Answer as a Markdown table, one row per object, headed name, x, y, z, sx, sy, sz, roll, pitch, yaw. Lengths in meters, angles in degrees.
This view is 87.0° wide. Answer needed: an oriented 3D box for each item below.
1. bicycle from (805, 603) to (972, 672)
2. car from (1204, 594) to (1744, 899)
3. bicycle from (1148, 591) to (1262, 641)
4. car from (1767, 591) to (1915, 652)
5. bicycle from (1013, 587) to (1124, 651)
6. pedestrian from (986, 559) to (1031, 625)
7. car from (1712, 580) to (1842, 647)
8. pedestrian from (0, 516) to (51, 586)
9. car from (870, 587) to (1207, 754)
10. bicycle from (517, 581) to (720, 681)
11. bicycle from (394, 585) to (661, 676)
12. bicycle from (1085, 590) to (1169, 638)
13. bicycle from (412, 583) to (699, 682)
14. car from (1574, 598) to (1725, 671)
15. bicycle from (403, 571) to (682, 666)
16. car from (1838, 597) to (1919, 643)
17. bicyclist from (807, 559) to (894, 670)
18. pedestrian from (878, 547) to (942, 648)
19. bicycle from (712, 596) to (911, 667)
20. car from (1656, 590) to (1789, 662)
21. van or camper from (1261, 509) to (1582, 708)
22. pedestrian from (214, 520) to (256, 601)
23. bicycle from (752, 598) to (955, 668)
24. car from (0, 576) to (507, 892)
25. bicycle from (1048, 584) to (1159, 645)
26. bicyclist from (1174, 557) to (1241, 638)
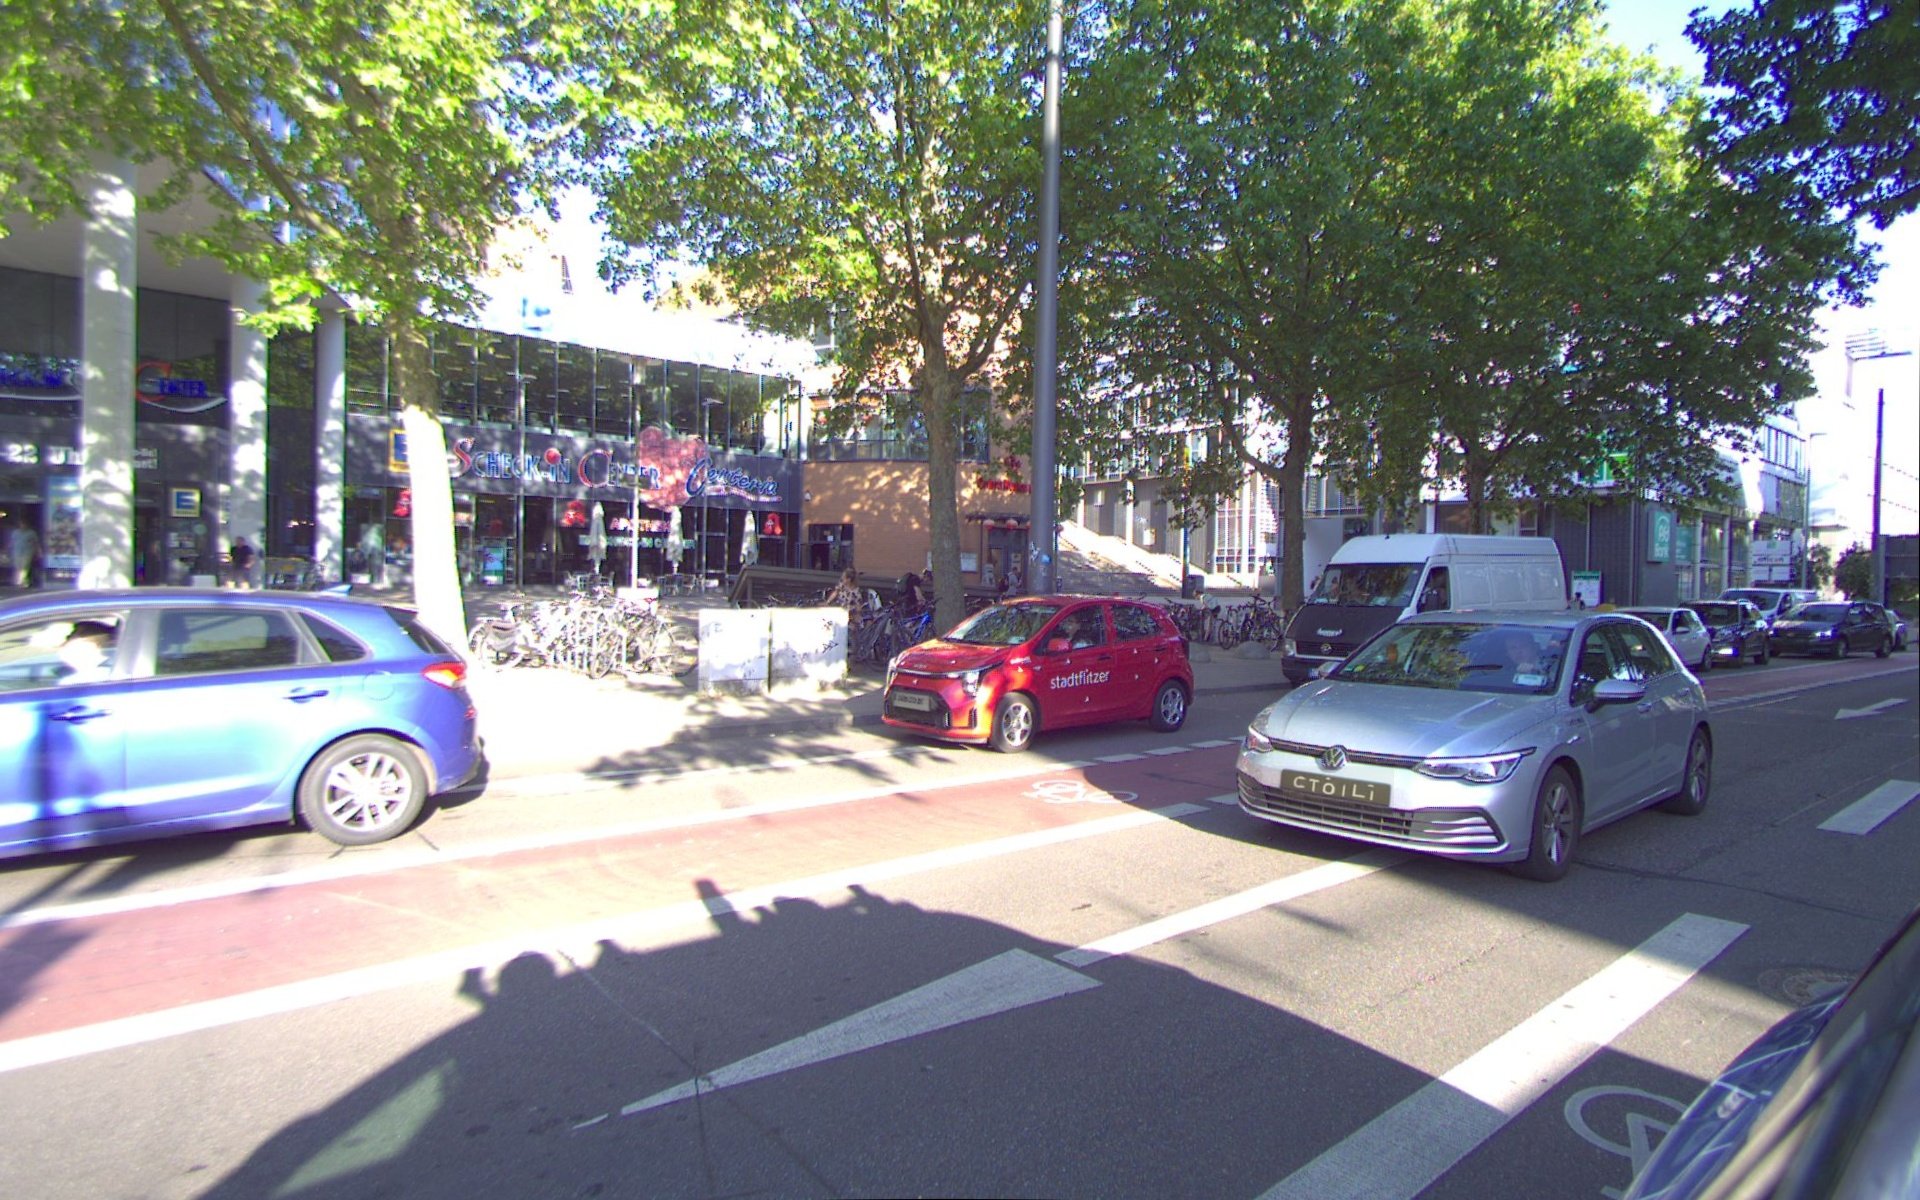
| name | x | y | z | sx | sy | sz | roll | pitch | yaw |
| --- | --- | --- | --- | --- | --- | --- | --- | --- | --- |
| bicycle | -1.083 | 0.546 | 15.922 | 2.591 | 0.960 | 0.924 | -1 | 0 | -41 |
| car | 3.574 | 0.722 | 6.743 | 3.927 | 1.436 | 1.752 | 1 | 0 | -39 |
| bicycle | 6.396 | 0.383 | 26.688 | 1.124 | 1.097 | 3.342 | 0 | 2 | -23 |
| car | 25.248 | 0.575 | 28.968 | 4.300 | 1.656 | 1.714 | 0 | 0 | -27 |
| bicycle | 2.165 | 0.346 | 19.944 | 2.355 | 1.177 | 0.750 | -1 | 0 | -40 |
| pedestrian | 1.518 | -0.250 | 31.696 | 0.995 | 2.039 | 1.015 | 0 | 0 | -29 |
| car | 26.351 | 0.377 | 32.563 | 5.809 | 1.989 | 1.933 | 0 | 0 | -37 |
| pedestrian | -26.040 | -1.368 | 28.096 | 0.857 | 1.912 | 0.813 | 1 | 2 | 2 |
| car | 0.921 | 0.617 | 10.674 | 3.533 | 1.478 | 1.493 | 0 | 0 | -41 |
| bicycle | -4.637 | 0.379 | 13.860 | 2.504 | 1.236 | 0.758 | -2 | 1 | -35 |
| bicycle | -6.645 | 0.421 | 15.811 | 3.746 | 1.236 | 0.793 | -2 | 1 | -37 |
| bicycle | 4.500 | 0.351 | 27.115 | 2.653 | 1.215 | 0.698 | -1 | 1 | -41 |
| bicycle | -5.708 | 0.402 | 14.560 | 3.745 | 1.236 | 0.758 | -2 | 1 | -36 |
| car | 15.117 | 0.689 | 22.128 | 3.914 | 1.446 | 1.639 | 0 | 0 | -38 |
| bicycle | -6.141 | 0.317 | 15.159 | 3.743 | 1.236 | 0.729 | 4 | -2 | -35 |
| car | 32.815 | 0.678 | 35.918 | 4.120 | 1.508 | 1.835 | 0 | 0 | -39 |
| bicyclist | -1.698 | 0.203 | 15.639 | 1.005 | 1.641 | 0.902 | 0 | 0 | -41 |
| pedestrian | -1.033 | -0.069 | 21.122 | 0.922 | 2.039 | 1.085 | 2 | 1 | 24 |
| bicycle | -2.509 | 0.495 | 17.546 | 3.352 | 1.013 | 1.051 | -1 | 6 | -41 |
| car | 19.028 | 0.588 | 25.190 | 4.174 | 1.656 | 1.768 | 0 | 0 | -40 |
| van or camper | 7.600 | 0.080 | 16.243 | 6.380 | 2.647 | 2.005 | 0 | 1 | -39 |
| pedestrian | -18.717 | -1.004 | 26.146 | 0.843 | 2.039 | 1.024 | 0 | 0 | -34 |
| bicycle | -1.694 | 0.498 | 16.724 | 3.352 | 1.014 | 1.050 | -1 | 0 | -41 |
| car | -4.920 | 0.616 | 5.526 | 4.140 | 1.478 | 1.750 | 0 | 0 | -42 |
| bicycle | 2.703 | 0.241 | 18.915 | 2.295 | 1.073 | 0.682 | -1 | 1 | -39 |
| bicyclist | 6.487 | -0.082 | 26.548 | 1.132 | 2.039 | 1.301 | 0 | 1 | -24 |
